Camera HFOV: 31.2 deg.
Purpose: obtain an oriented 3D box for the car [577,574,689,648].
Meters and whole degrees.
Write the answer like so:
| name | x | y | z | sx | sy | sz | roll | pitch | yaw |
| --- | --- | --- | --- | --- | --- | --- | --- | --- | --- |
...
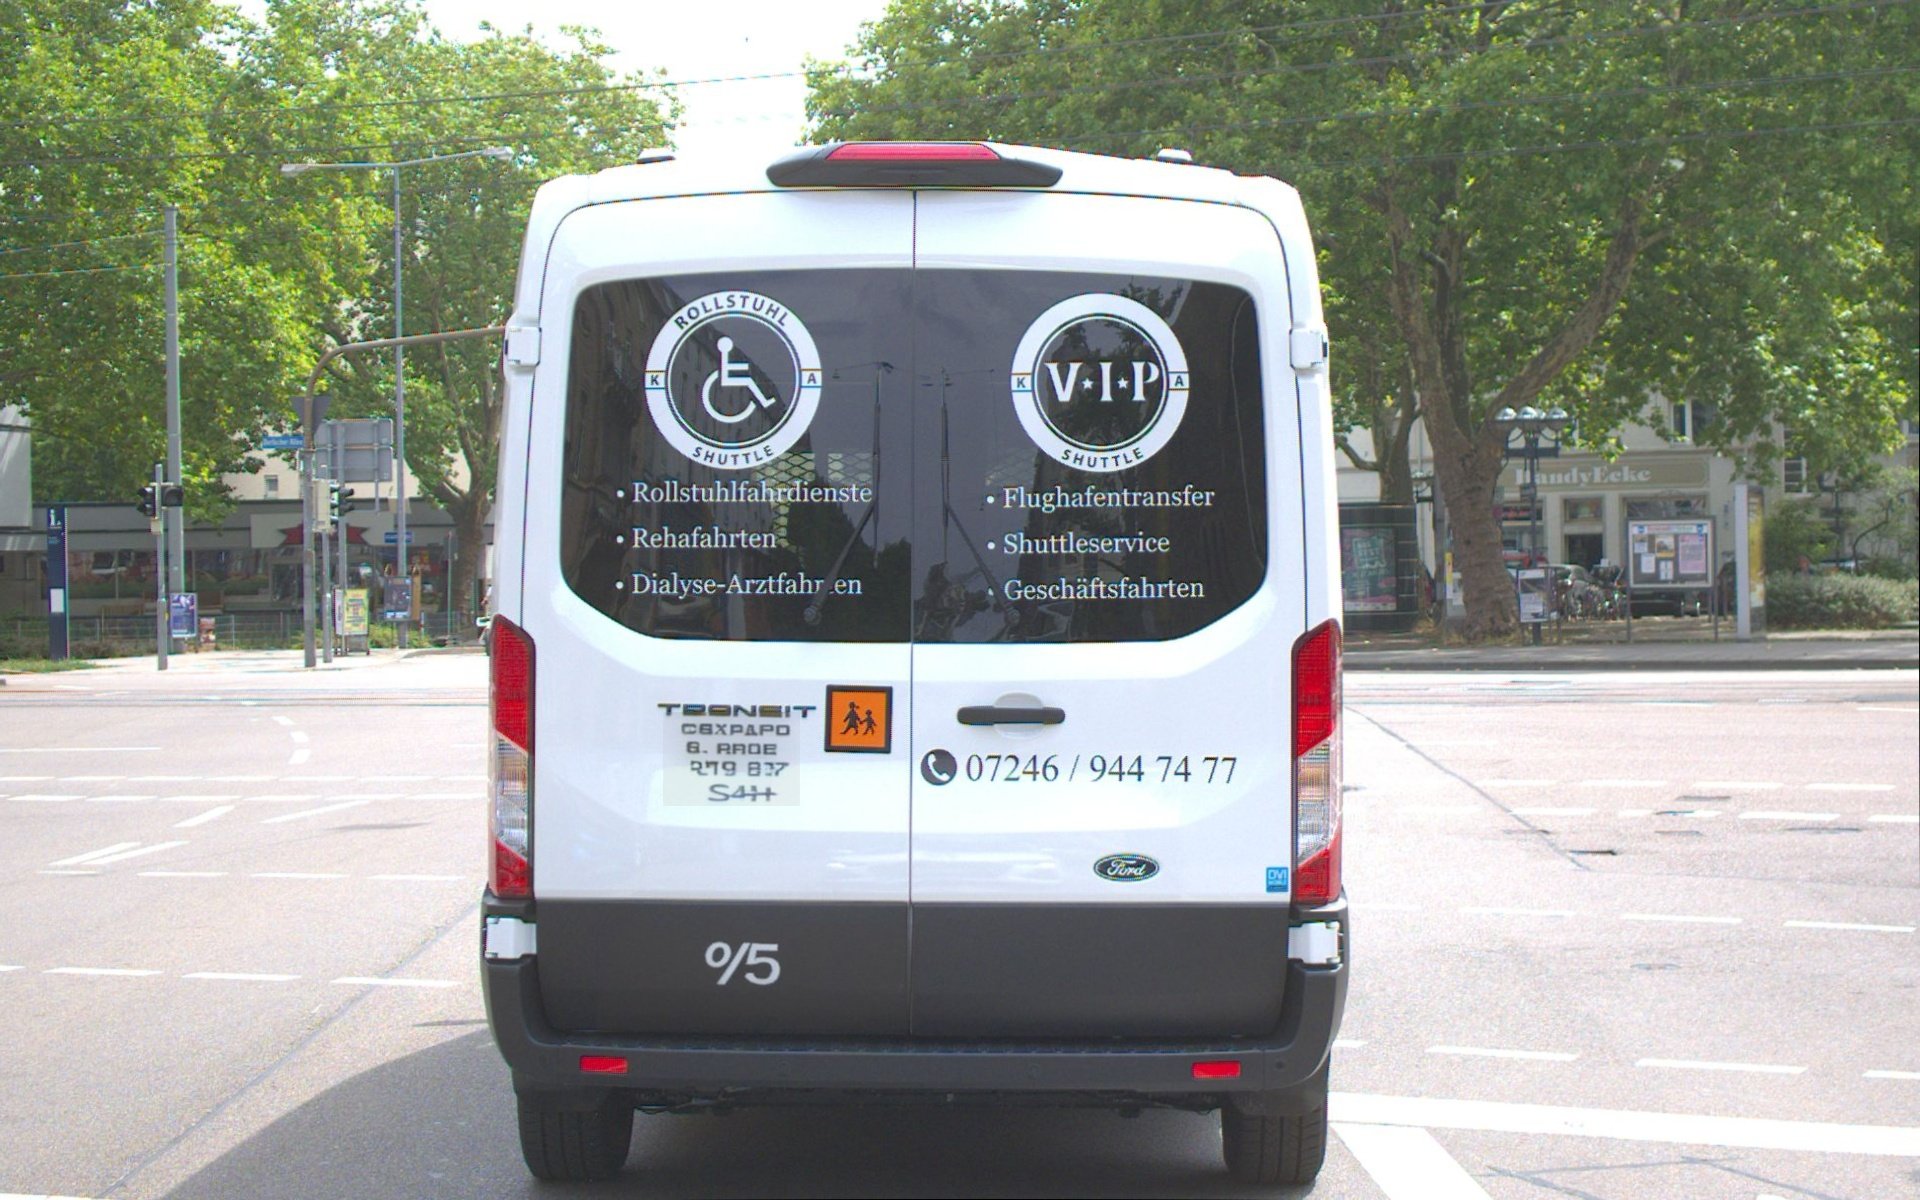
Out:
| name | x | y | z | sx | sy | sz | roll | pitch | yaw |
| --- | --- | --- | --- | --- | --- | --- | --- | --- | --- |
| car | -6.617 | 0.204 | 69.885 | 1.743 | 1.422 | 4.032 | -1 | 1 | 2 |

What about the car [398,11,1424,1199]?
| name | x | y | z | sx | sy | sz | roll | pitch | yaw |
| --- | --- | --- | --- | --- | --- | --- | --- | --- | --- |
| car | -0.167 | 0.070 | 9.686 | 2.181 | 2.639 | 4.628 | 0 | 0 | -2 |

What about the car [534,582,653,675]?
| name | x | y | z | sx | sy | sz | roll | pitch | yaw |
| --- | --- | --- | --- | --- | --- | --- | --- | --- | --- |
| car | -6.293 | 0.463 | 59.319 | 1.592 | 1.502 | 3.807 | -1 | 1 | 1 |

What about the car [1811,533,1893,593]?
| name | x | y | z | sx | sy | sz | roll | pitch | yaw |
| --- | --- | --- | --- | --- | --- | --- | --- | --- | --- |
| car | 25.618 | -1.076 | 98.672 | 1.806 | 1.678 | 3.996 | -1 | 1 | 22 |

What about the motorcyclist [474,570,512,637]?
| name | x | y | z | sx | sy | sz | roll | pitch | yaw |
| --- | --- | --- | --- | --- | --- | --- | --- | --- | --- |
| motorcyclist | -9.831 | 0.068 | 72.412 | 0.683 | 1.391 | 0.682 | -1 | 1 | 0 |

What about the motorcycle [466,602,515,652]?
| name | x | y | z | sx | sy | sz | roll | pitch | yaw |
| --- | --- | --- | --- | --- | --- | --- | --- | --- | --- |
| motorcycle | -9.810 | 0.556 | 71.858 | 0.683 | 0.968 | 2.324 | -1 | 1 | 0 |

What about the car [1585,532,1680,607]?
| name | x | y | z | sx | sy | sz | roll | pitch | yaw |
| --- | --- | --- | --- | --- | --- | --- | --- | --- | --- |
| car | 17.732 | -0.814 | 90.809 | 1.994 | 1.924 | 3.999 | -1 | 1 | 4 |

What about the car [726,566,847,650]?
| name | x | y | z | sx | sy | sz | roll | pitch | yaw |
| --- | --- | --- | --- | --- | --- | --- | --- | --- | --- |
| car | -3.115 | 0.118 | 62.430 | 1.832 | 1.422 | 4.121 | -1 | 1 | 2 |

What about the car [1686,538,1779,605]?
| name | x | y | z | sx | sy | sz | roll | pitch | yaw |
| --- | --- | --- | --- | --- | --- | --- | --- | --- | --- |
| car | 20.211 | -0.754 | 90.056 | 1.805 | 1.678 | 3.999 | -1 | 1 | 4 |
